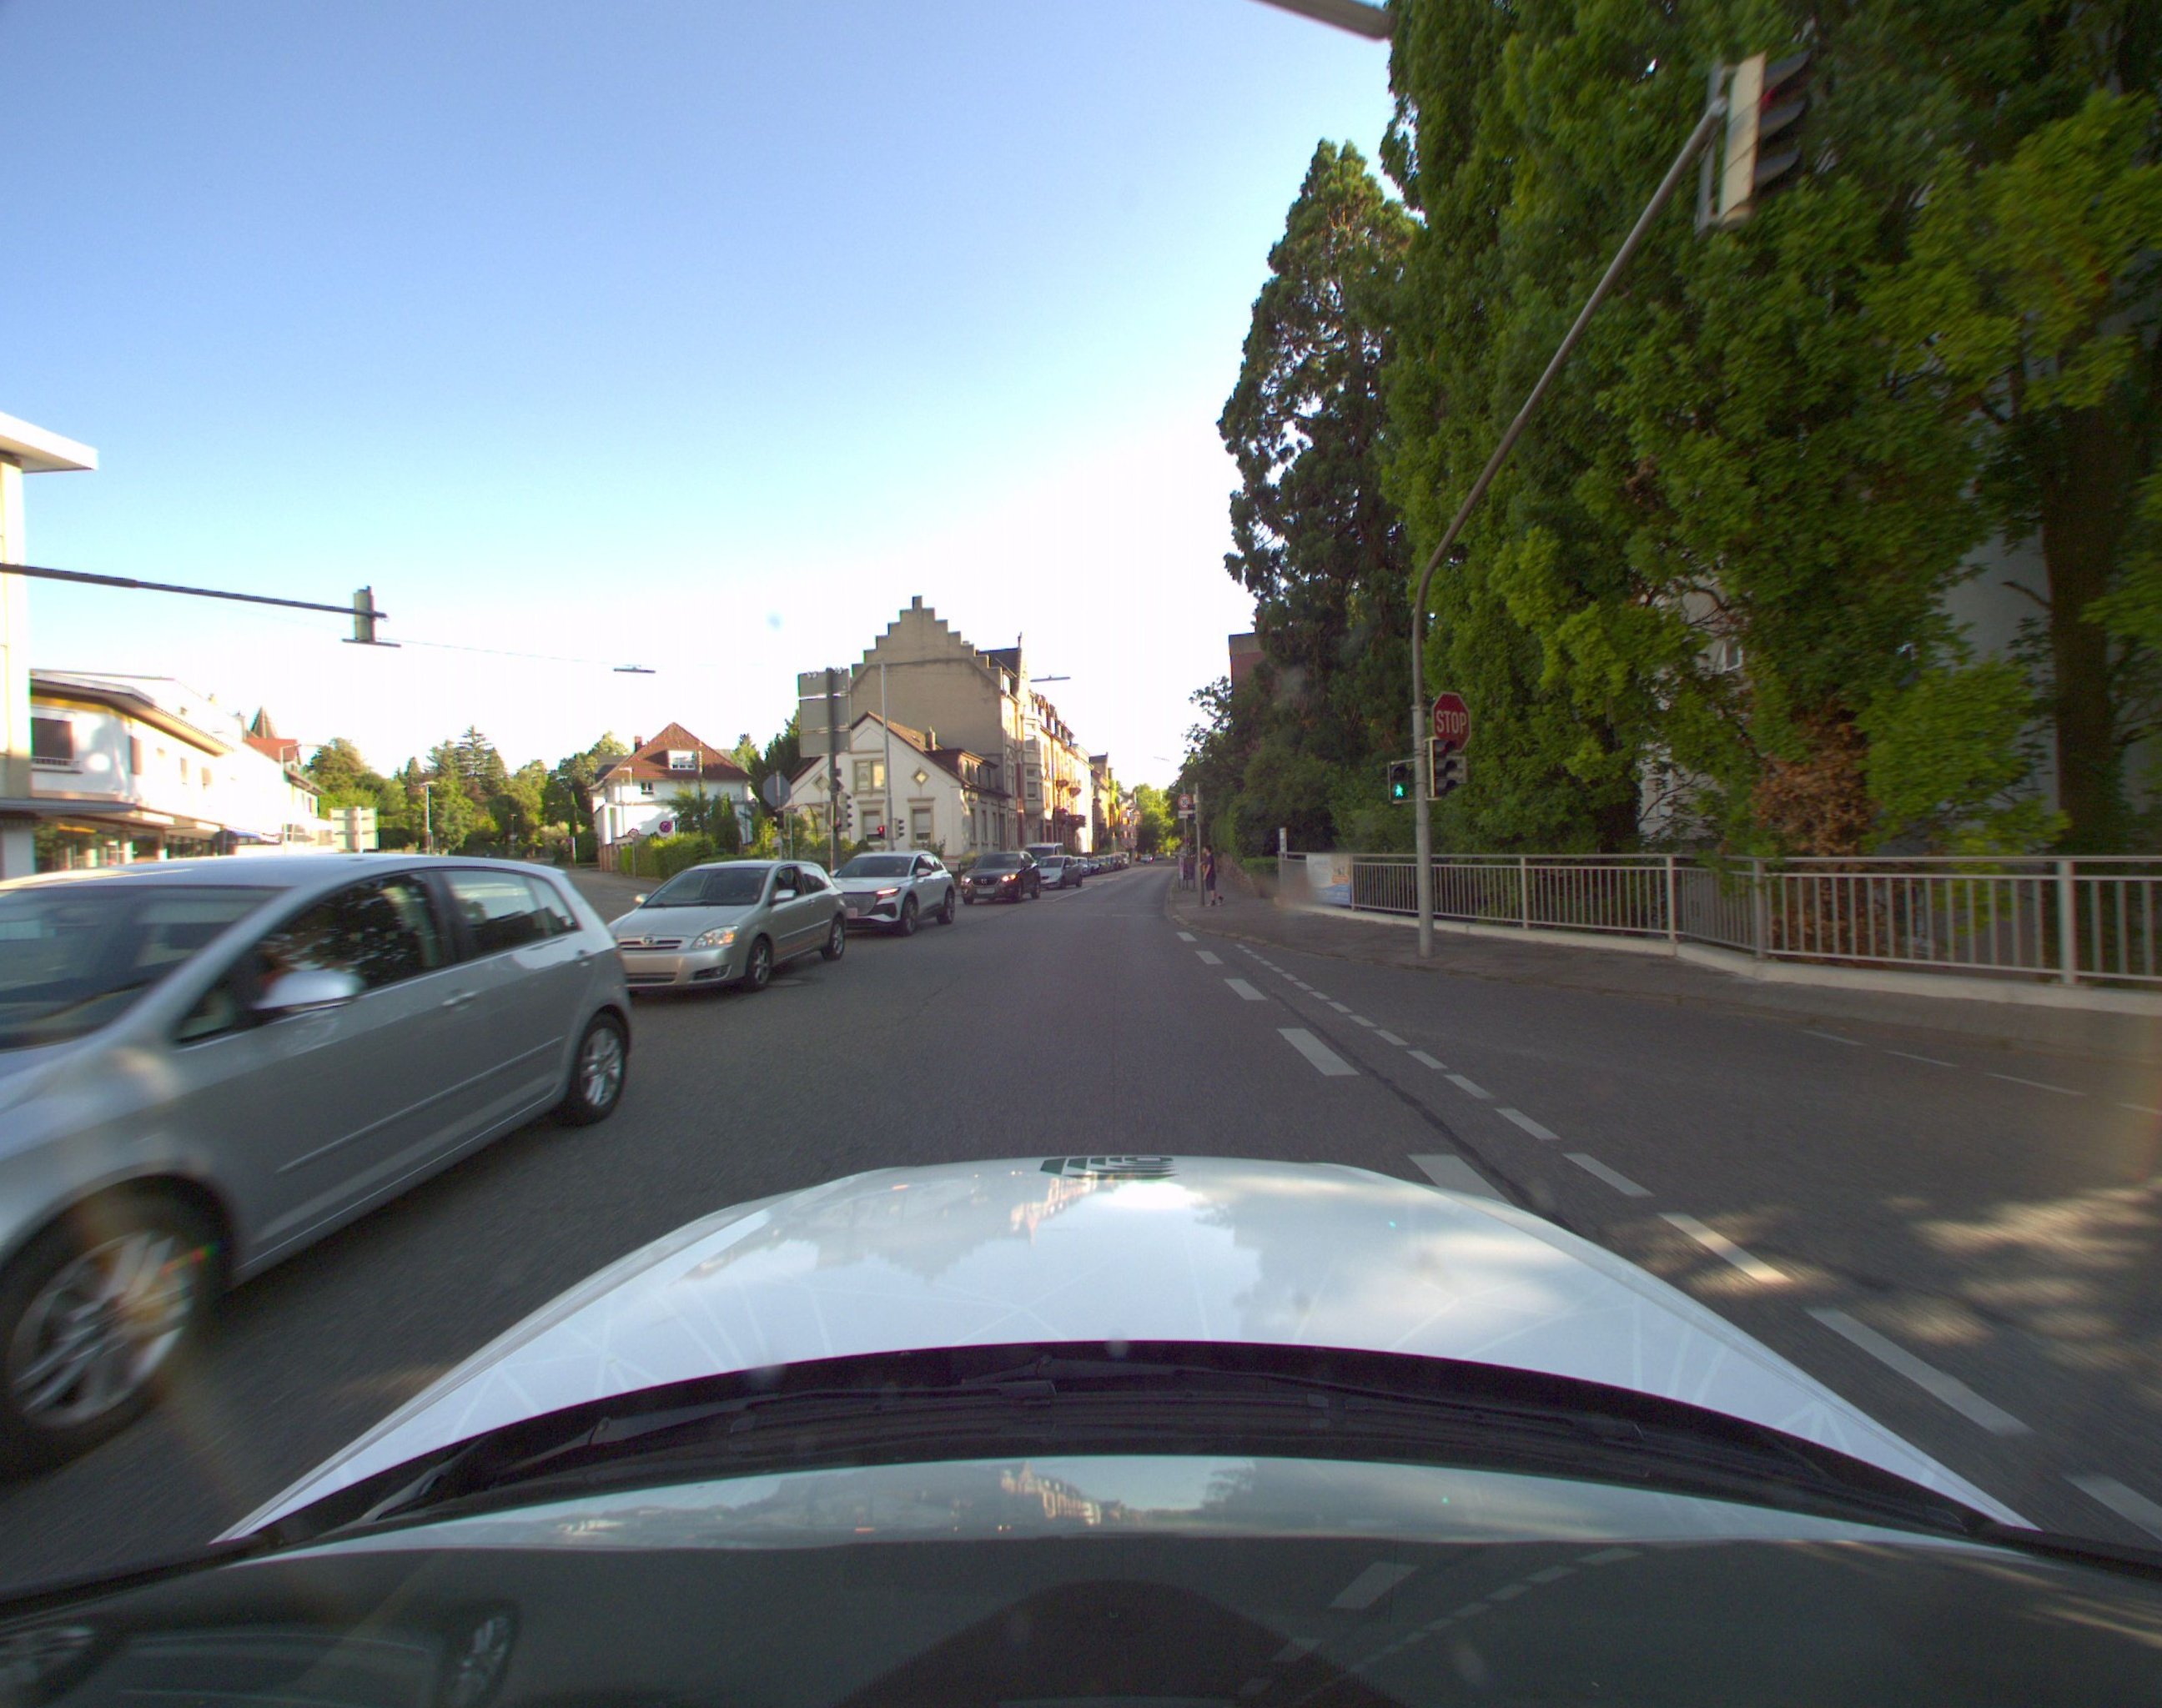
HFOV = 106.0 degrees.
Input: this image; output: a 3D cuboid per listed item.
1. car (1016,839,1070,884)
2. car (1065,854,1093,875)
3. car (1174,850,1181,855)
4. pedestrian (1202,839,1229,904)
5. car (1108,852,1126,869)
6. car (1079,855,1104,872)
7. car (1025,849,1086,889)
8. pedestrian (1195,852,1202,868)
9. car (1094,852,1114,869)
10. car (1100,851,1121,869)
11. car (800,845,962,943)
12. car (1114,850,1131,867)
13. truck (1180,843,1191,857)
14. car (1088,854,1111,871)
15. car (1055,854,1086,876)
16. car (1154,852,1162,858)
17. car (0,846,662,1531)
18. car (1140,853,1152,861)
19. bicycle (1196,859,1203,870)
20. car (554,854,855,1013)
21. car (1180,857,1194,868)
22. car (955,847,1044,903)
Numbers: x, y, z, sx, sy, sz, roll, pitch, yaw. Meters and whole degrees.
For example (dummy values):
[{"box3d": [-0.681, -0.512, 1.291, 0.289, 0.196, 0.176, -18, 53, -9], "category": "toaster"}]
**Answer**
[{"box3d": [-2.126, 0.397, 47.432, 2.056, 2.460, 6.027, -1, 0, 8], "category": "car"}, {"box3d": [-0.106, 0.784, 64.211, 1.694, 1.536, 4.557, -1, 0, 6], "category": "car"}, {"box3d": [28.407, -0.480, 239.693, 1.984, 1.491, 4.476, -3, 1, 4], "category": "car"}, {"box3d": [3.638, 0.457, 22.047, 0.599, 1.693, 0.613, -3, 1, 6], "category": "pedestrian"}, {"box3d": [3.979, 0.702, 89.400, 1.694, 1.738, 3.864, -1, 0, 6], "category": "car"}, {"box3d": [0.908, 0.767, 69.375, 1.694, 1.366, 3.866, -1, 0, 6], "category": "car"}, {"box3d": [-1.112, 0.653, 38.091, 1.941, 1.648, 4.297, -1, 1, 11], "category": "car"}, {"box3d": [10.394, 0.548, 71.874, 0.595, 1.403, 0.669, -1, 1, 5], "category": "pedestrian"}, {"box3d": [2.278, 0.634, 79.467, 1.694, 1.584, 3.641, -1, 0, 6], "category": "car"}, {"box3d": [3.037, 0.594, 84.207, 1.693, 1.707, 4.450, -1, 0, 8], "category": "car"}, {"box3d": [-3.837, 0.679, 16.519, 1.767, 1.648, 4.541, -1, 1, 5], "category": "car"}, {"box3d": [5.098, 0.584, 100.225, 1.784, 2.010, 4.706, -1, 0, 6], "category": "car"}, {"box3d": [21.643, -0.829, 168.721, 1.983, 2.896, 4.479, -3, 1, 7], "category": "truck"}, {"box3d": [1.694, 0.763, 74.406, 1.694, 1.503, 4.079, -1, -1, 6], "category": "car"}, {"box3d": [-0.728, 0.754, 59.771, 1.693, 1.503, 4.029, -1, 0, 8], "category": "car"}, {"box3d": [21.565, 0.209, 227.081, 1.983, 1.491, 4.480, -3, 1, 7], "category": "car"}, {"box3d": [-3.507, 0.775, 3.298, 1.772, 1.543, 3.994, -1, 1, -5], "category": "car"}, {"box3d": [12.866, 0.591, 160.958, 1.983, 1.491, 4.480, -3, 1, 7], "category": "car"}, {"box3d": [10.335, 0.916, 71.263, 0.564, 0.970, 0.493, -1, 1, 3], "category": "bicycle"}, {"box3d": [-4.316, 0.794, 10.167, 1.769, 1.480, 4.097, -1, 1, 1], "category": "car"}, {"box3d": [16.687, 1.361, 127.685, 1.982, 1.517, 4.010, -3, 1, 9], "category": "car"}, {"box3d": [-2.570, 0.621, 26.813, 1.943, 1.648, 4.293, -1, 1, 8], "category": "car"}]
